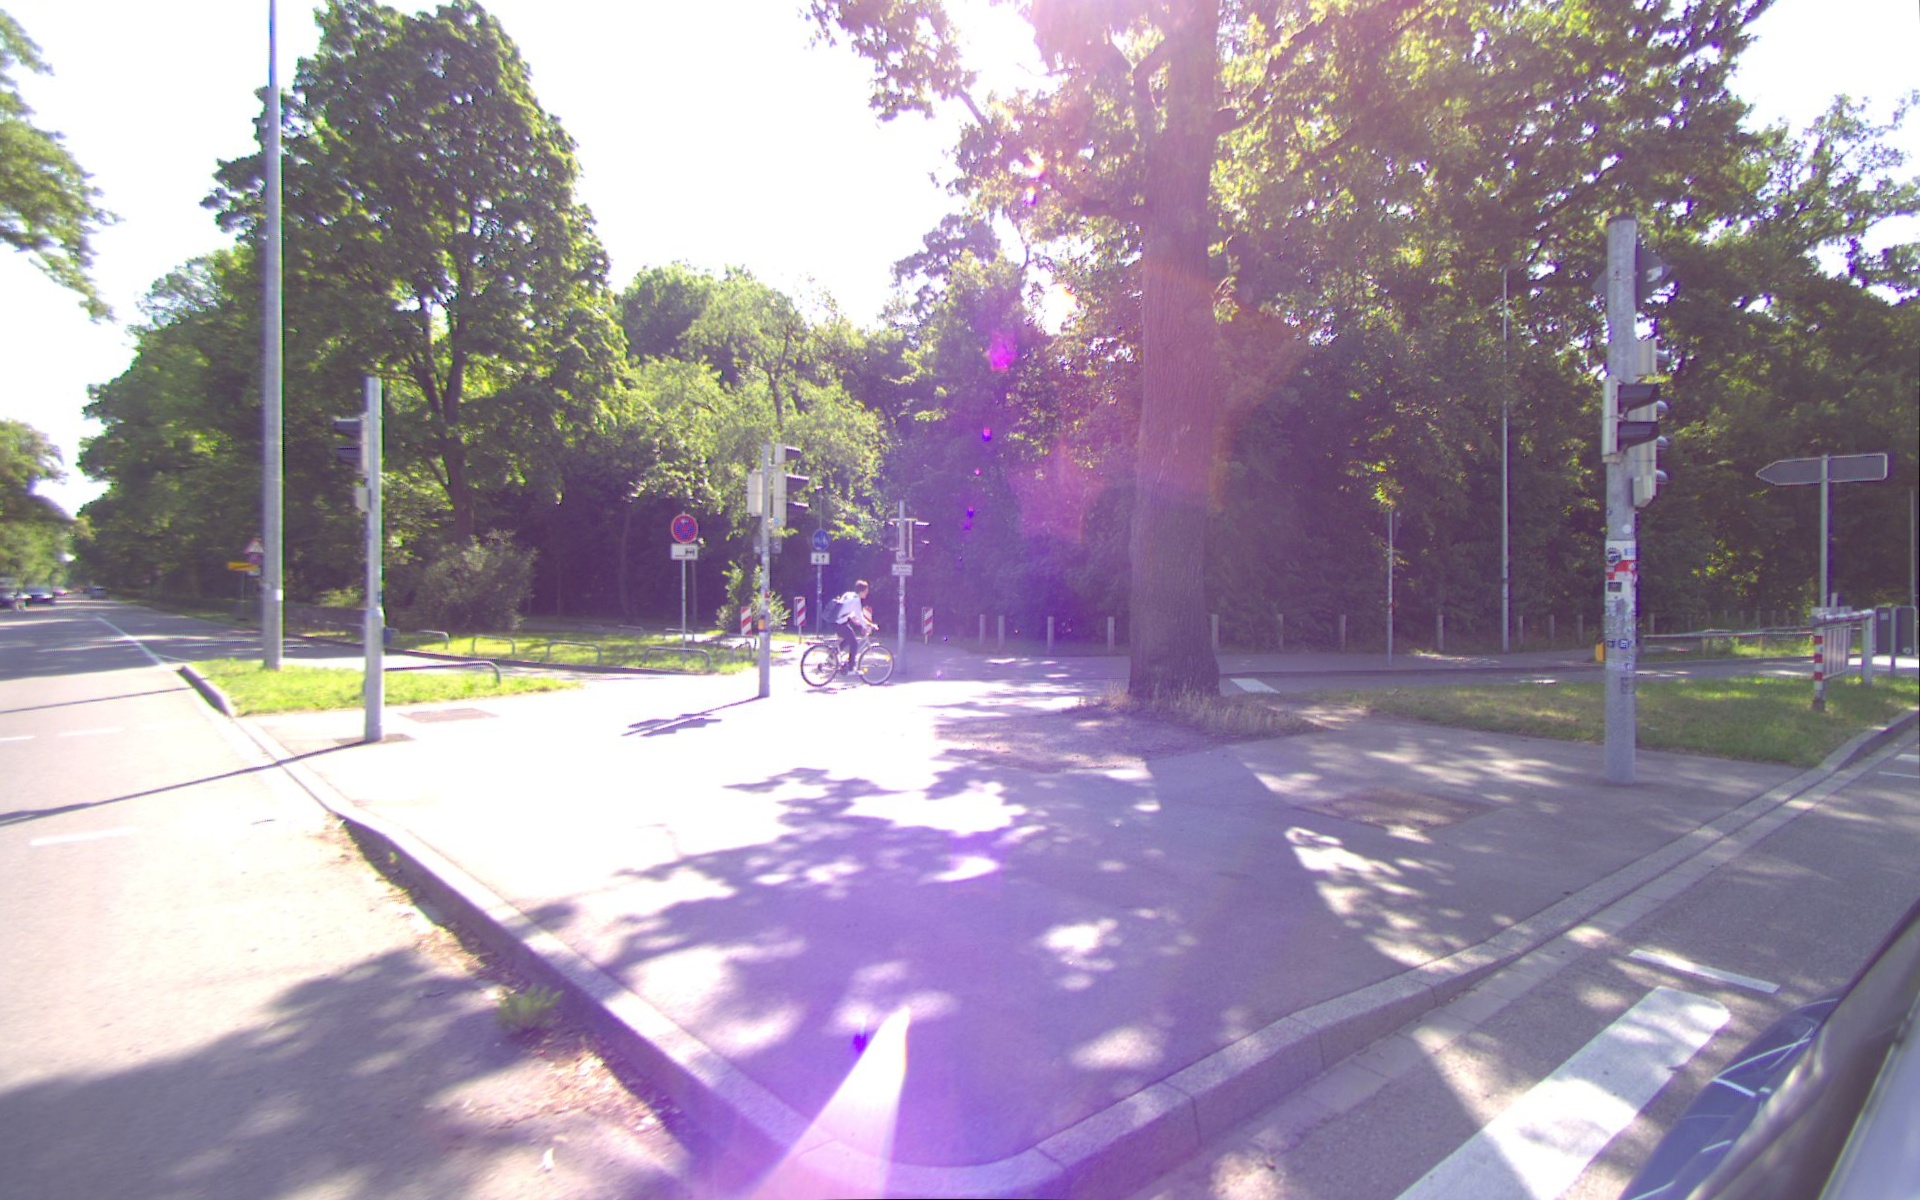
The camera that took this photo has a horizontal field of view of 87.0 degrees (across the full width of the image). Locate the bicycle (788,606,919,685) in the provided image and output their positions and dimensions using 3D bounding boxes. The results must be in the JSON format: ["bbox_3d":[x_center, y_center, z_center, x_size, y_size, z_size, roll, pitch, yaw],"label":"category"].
[{"bbox_3d":[-1.755,0.721,16.828,2.060,1.214,0.726,0,0,-34],"label":"bicycle"}]

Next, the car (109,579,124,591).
[{"bbox_3d":[-140.406,-2.539,168.427,1.847,2.039,3.996,0,1,-38],"label":"car"}]

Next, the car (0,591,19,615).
[{"bbox_3d":[-61.603,0.165,64.574,1.812,1.502,3.999,0,1,-36],"label":"car"}]

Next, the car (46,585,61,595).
[{"bbox_3d":[-136.655,-1.500,152.547,1.600,1.419,3.474,0,1,-43],"label":"car"}]

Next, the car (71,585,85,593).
[{"bbox_3d":[-162.388,-2.025,186.336,1.728,1.527,3.996,0,1,-38],"label":"car"}]

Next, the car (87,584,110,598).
[{"bbox_3d":[-107.150,-1.136,125.893,1.964,1.794,3.997,0,1,-38],"label":"car"}]

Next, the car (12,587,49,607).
[{"bbox_3d":[-74.318,-0.266,80.945,1.964,1.504,3.996,0,1,-39],"label":"car"}]

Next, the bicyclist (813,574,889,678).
[{"bbox_3d":[-1.811,0.413,16.794,1.037,1.659,0.726,0,0,-34],"label":"bicyclist"}]
